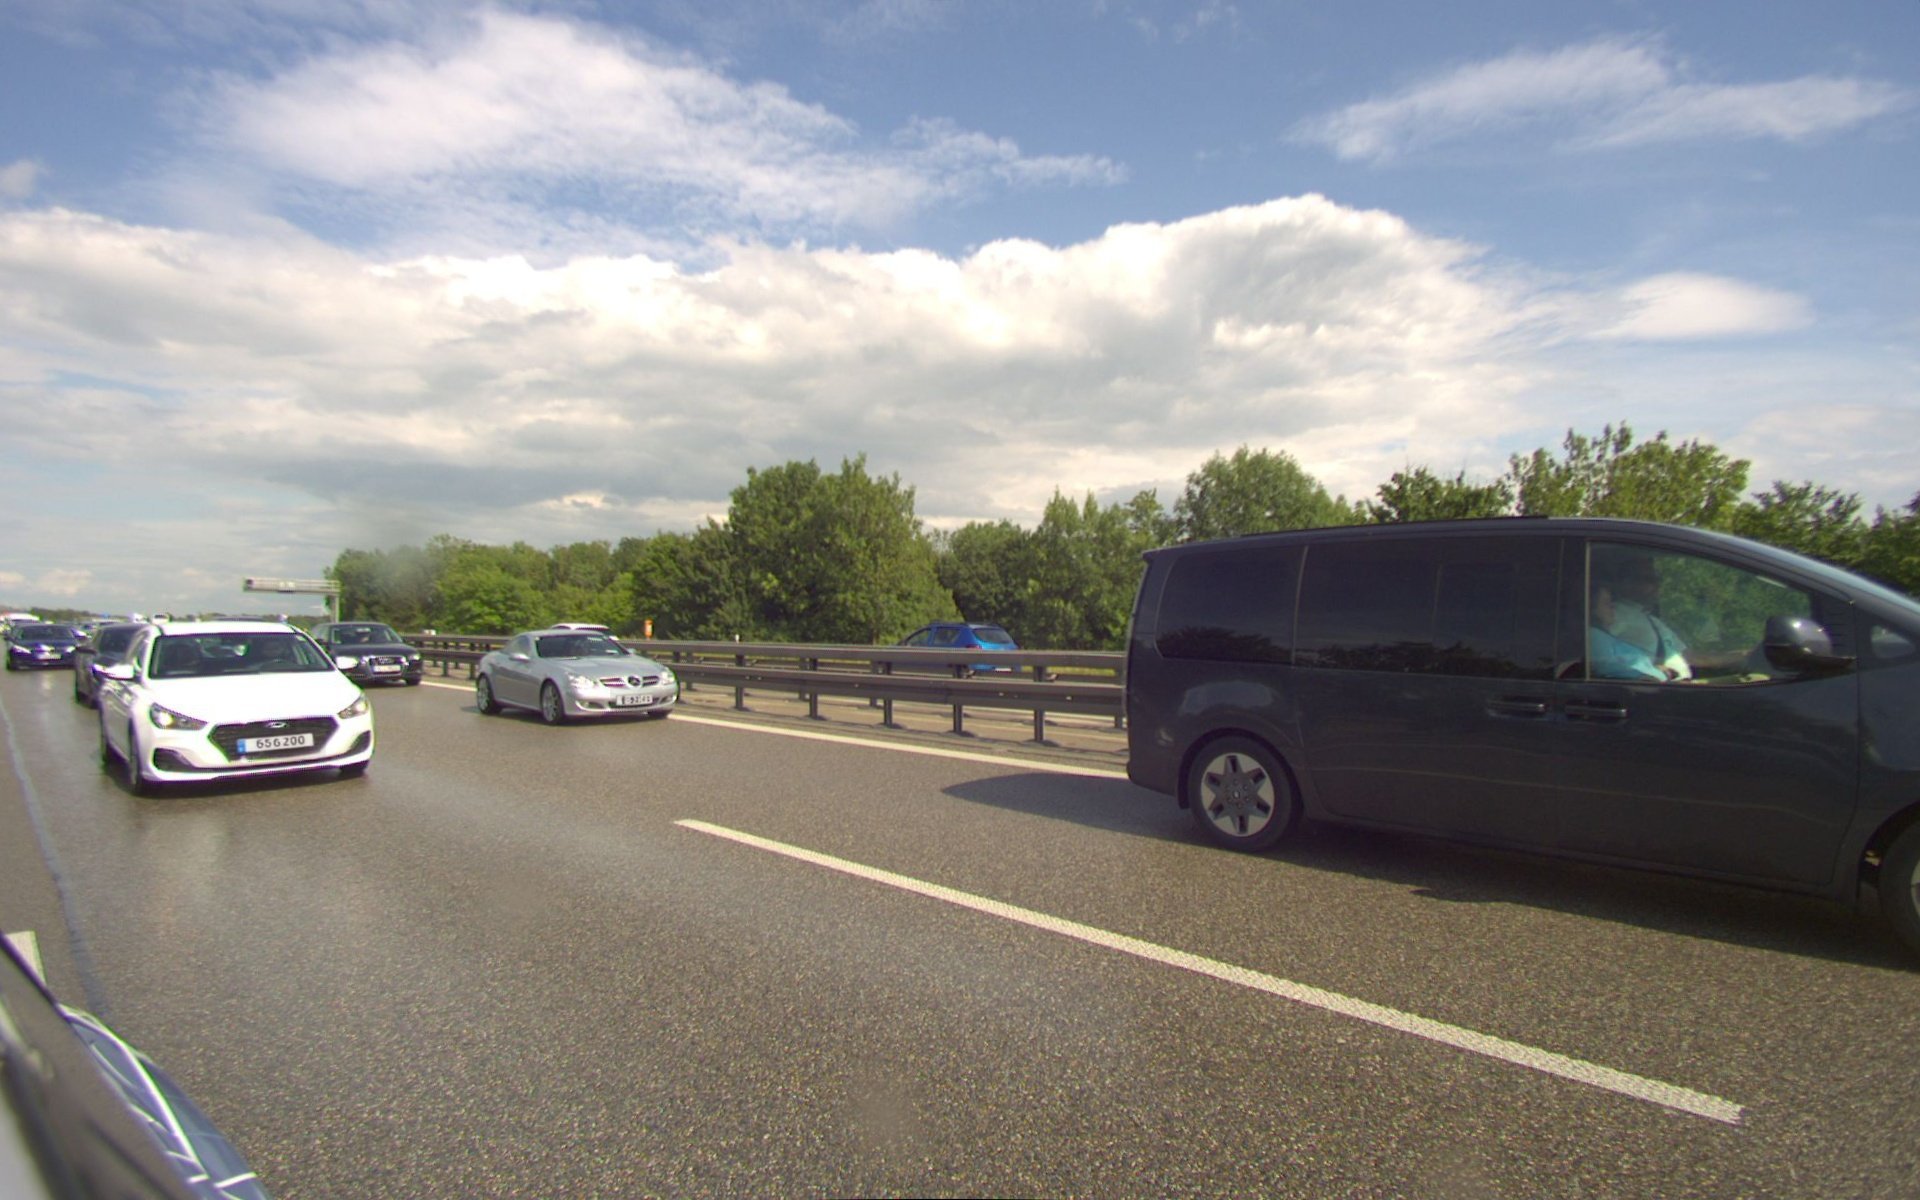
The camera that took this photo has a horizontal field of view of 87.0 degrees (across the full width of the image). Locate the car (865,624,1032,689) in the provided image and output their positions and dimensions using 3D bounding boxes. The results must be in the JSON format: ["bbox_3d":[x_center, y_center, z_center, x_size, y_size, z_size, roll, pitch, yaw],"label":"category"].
[{"bbox_3d":[-0.332,1.270,23.933,3.877,1.390,1.737,-2,-2,44],"label":"car"}]

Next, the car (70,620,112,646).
[{"bbox_3d":[-62.843,2.387,73.193,4.002,1.710,1.971,0,1,44],"label":"car"}]

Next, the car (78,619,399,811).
[{"bbox_3d":[-7.331,0.940,10.077,4.550,1.466,1.860,-2,-2,45],"label":"car"}]

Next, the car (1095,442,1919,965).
[{"bbox_3d":[3.460,0.432,5.581,5.271,2.029,1.971,-2,-2,45],"label":"car"}]

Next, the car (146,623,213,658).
[{"bbox_3d":[-33.642,1.699,43.604,4.002,1.389,1.747,0,-1,44],"label":"car"}]

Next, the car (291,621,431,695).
[{"bbox_3d":[-13.311,1.212,22.382,1.746,1.436,4.141,0,0,-44],"label":"car"}]

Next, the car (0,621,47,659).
[{"bbox_3d":[-41.105,1.698,43.915,4.002,1.490,1.971,0,1,44],"label":"car"}]

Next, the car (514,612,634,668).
[{"bbox_3d":[-12.342,1.239,32.266,3.999,1.636,1.972,-1,-1,42],"label":"car"}]

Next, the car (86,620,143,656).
[{"bbox_3d":[-46.300,2.030,55.380,4.002,1.762,1.971,0,1,44],"label":"car"}]

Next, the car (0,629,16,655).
[{"bbox_3d":[-59.696,2.618,62.412,4.002,1.490,1.971,0,1,44],"label":"car"}]

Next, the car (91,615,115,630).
[{"bbox_3d":[-108.778,2.829,128.408,1.971,1.792,4.463,0,-1,-45],"label":"car"}]

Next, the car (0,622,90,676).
[{"bbox_3d":[-29.123,1.499,32.115,4.002,1.497,1.971,0,1,44],"label":"car"}]

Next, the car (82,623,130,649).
[{"bbox_3d":[-54.971,2.317,65.137,4.002,1.490,1.971,0,1,44],"label":"car"}]

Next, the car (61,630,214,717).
[{"bbox_3d":[-14.969,1.239,18.341,4.289,1.348,1.705,-2,-2,45],"label":"car"}]

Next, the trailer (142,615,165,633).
[{"bbox_3d":[-154.498,4.611,193.826,2.698,3.407,9.568,1,-2,-44],"label":"trailer"}]

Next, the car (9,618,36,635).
[{"bbox_3d":[-104.520,2.958,112.816,4.002,1.710,1.971,0,1,44],"label":"car"}]

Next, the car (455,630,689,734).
[{"bbox_3d":[-5.809,1.097,14.901,4.065,1.288,1.705,-2,-2,45],"label":"car"}]

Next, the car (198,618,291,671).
[{"bbox_3d":[-23.515,1.416,33.211,1.849,1.618,4.231,0,-1,-44],"label":"car"}]
